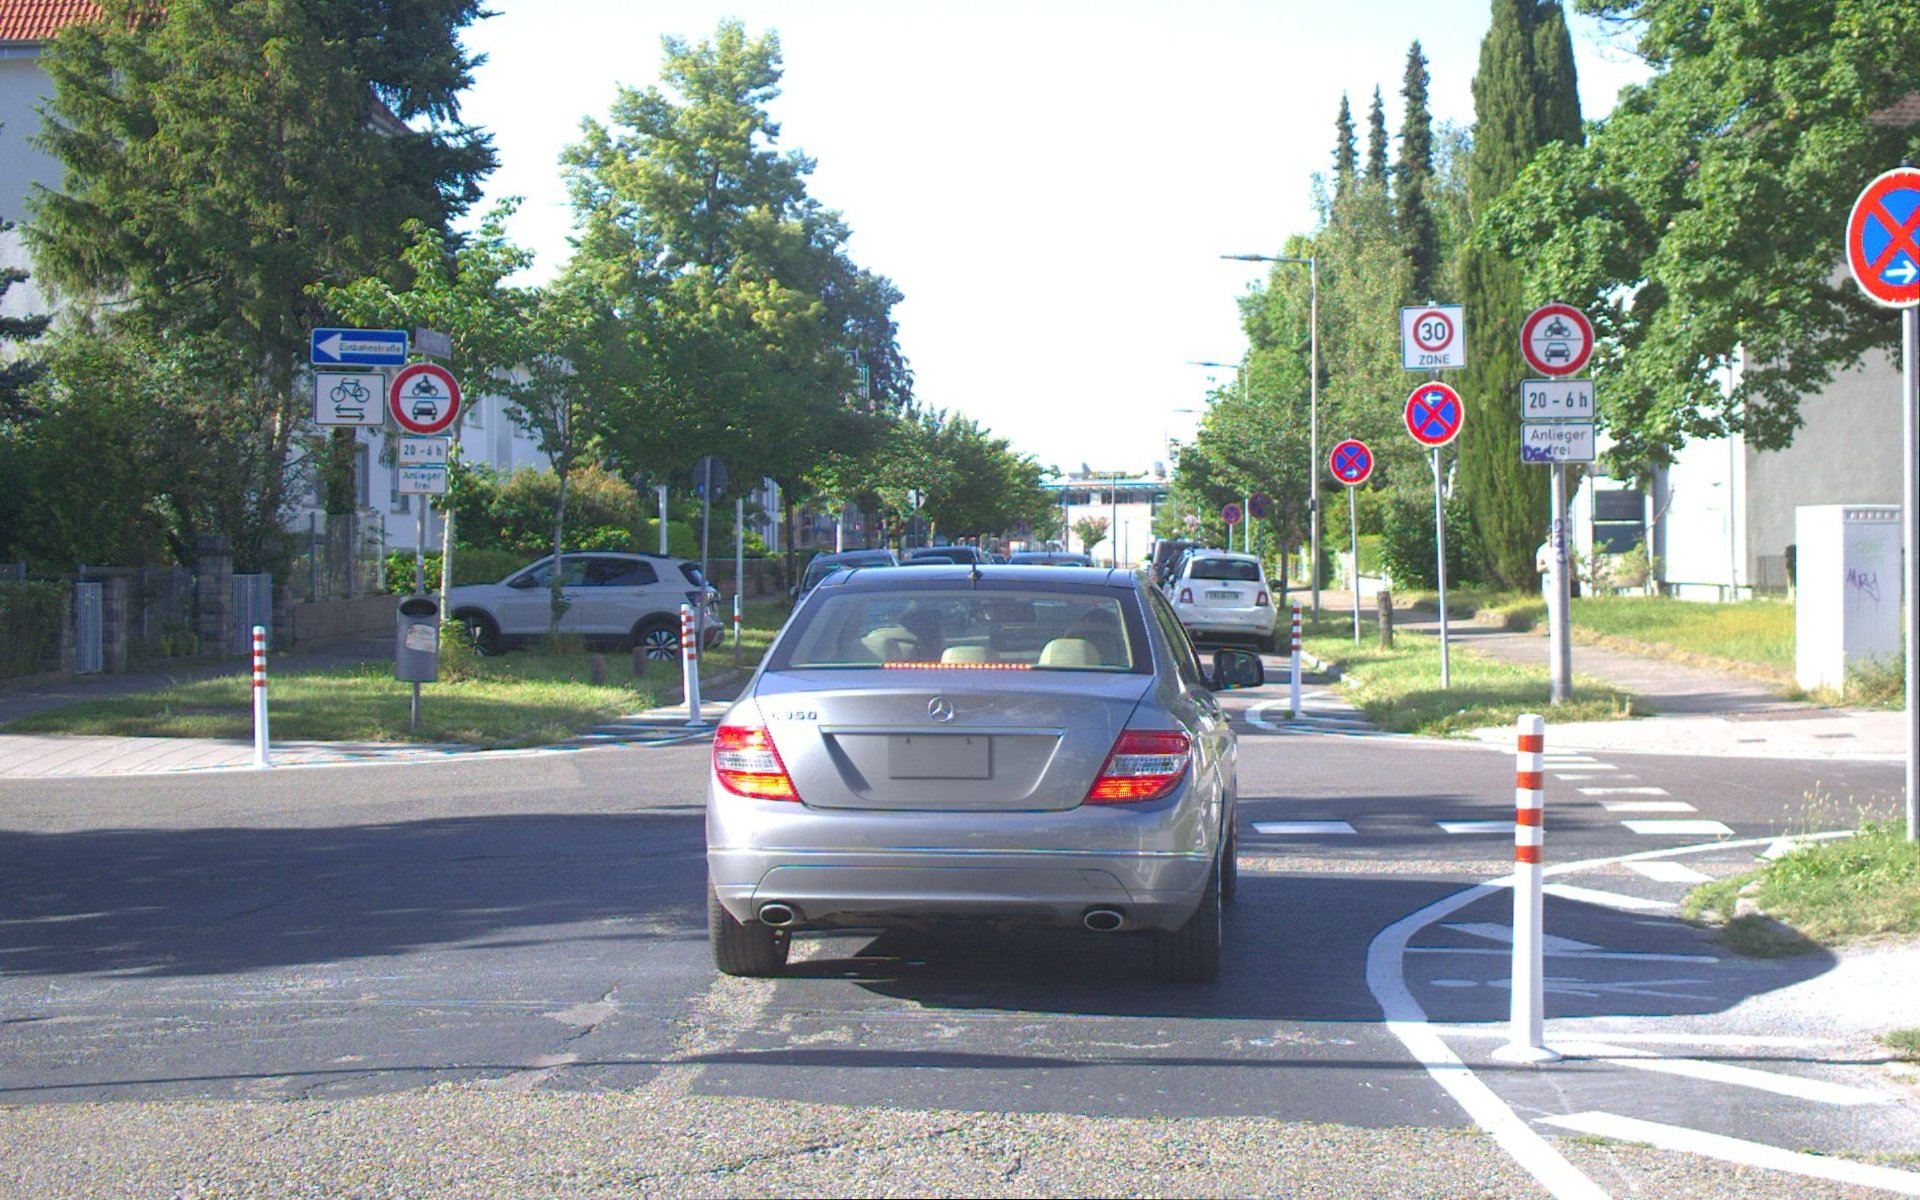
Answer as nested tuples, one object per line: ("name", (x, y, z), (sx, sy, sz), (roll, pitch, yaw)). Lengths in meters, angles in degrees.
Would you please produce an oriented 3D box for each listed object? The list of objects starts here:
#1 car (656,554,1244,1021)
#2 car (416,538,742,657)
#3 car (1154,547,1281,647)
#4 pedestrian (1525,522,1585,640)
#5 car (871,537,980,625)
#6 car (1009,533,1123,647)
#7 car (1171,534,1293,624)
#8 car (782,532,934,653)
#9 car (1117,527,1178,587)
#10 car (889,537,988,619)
("car", (0.098, 0.555, 12.719), (1.836, 1.436, 4.000), (0, 1, 4))
("car", (-5.096, -0.050, 46.403), (4.192, 1.558, 1.842), (0, 1, 0))
("car", (3.964, -0.072, 53.387), (1.733, 1.474, 3.725), (-1, 1, 1))
("pedestrian", (8.194, -0.267, 47.360), (0.766, 1.605, 0.834), (-1, 1, 8))
("car", (-0.653, -0.407, 69.148), (1.993, 1.604, 4.000), (-4, 1, 1))
("car", (1.531, -0.178, 50.646), (1.597, 1.604, 3.644), (-1, 1, 1))
("car", (5.048, -0.413, 64.157), (1.993, 1.604, 4.000), (-1, 1, 1))
("car", (-1.479, -0.138, 51.359), (1.993, 1.604, 4.000), (-4, 1, 1))
("car", (5.933, -1.368, 109.165), (1.855, 1.835, 4.000), (-1, 1, 2))
("car", (-0.439, -0.501, 74.937), (1.993, 1.604, 4.000), (-4, 1, 1))
